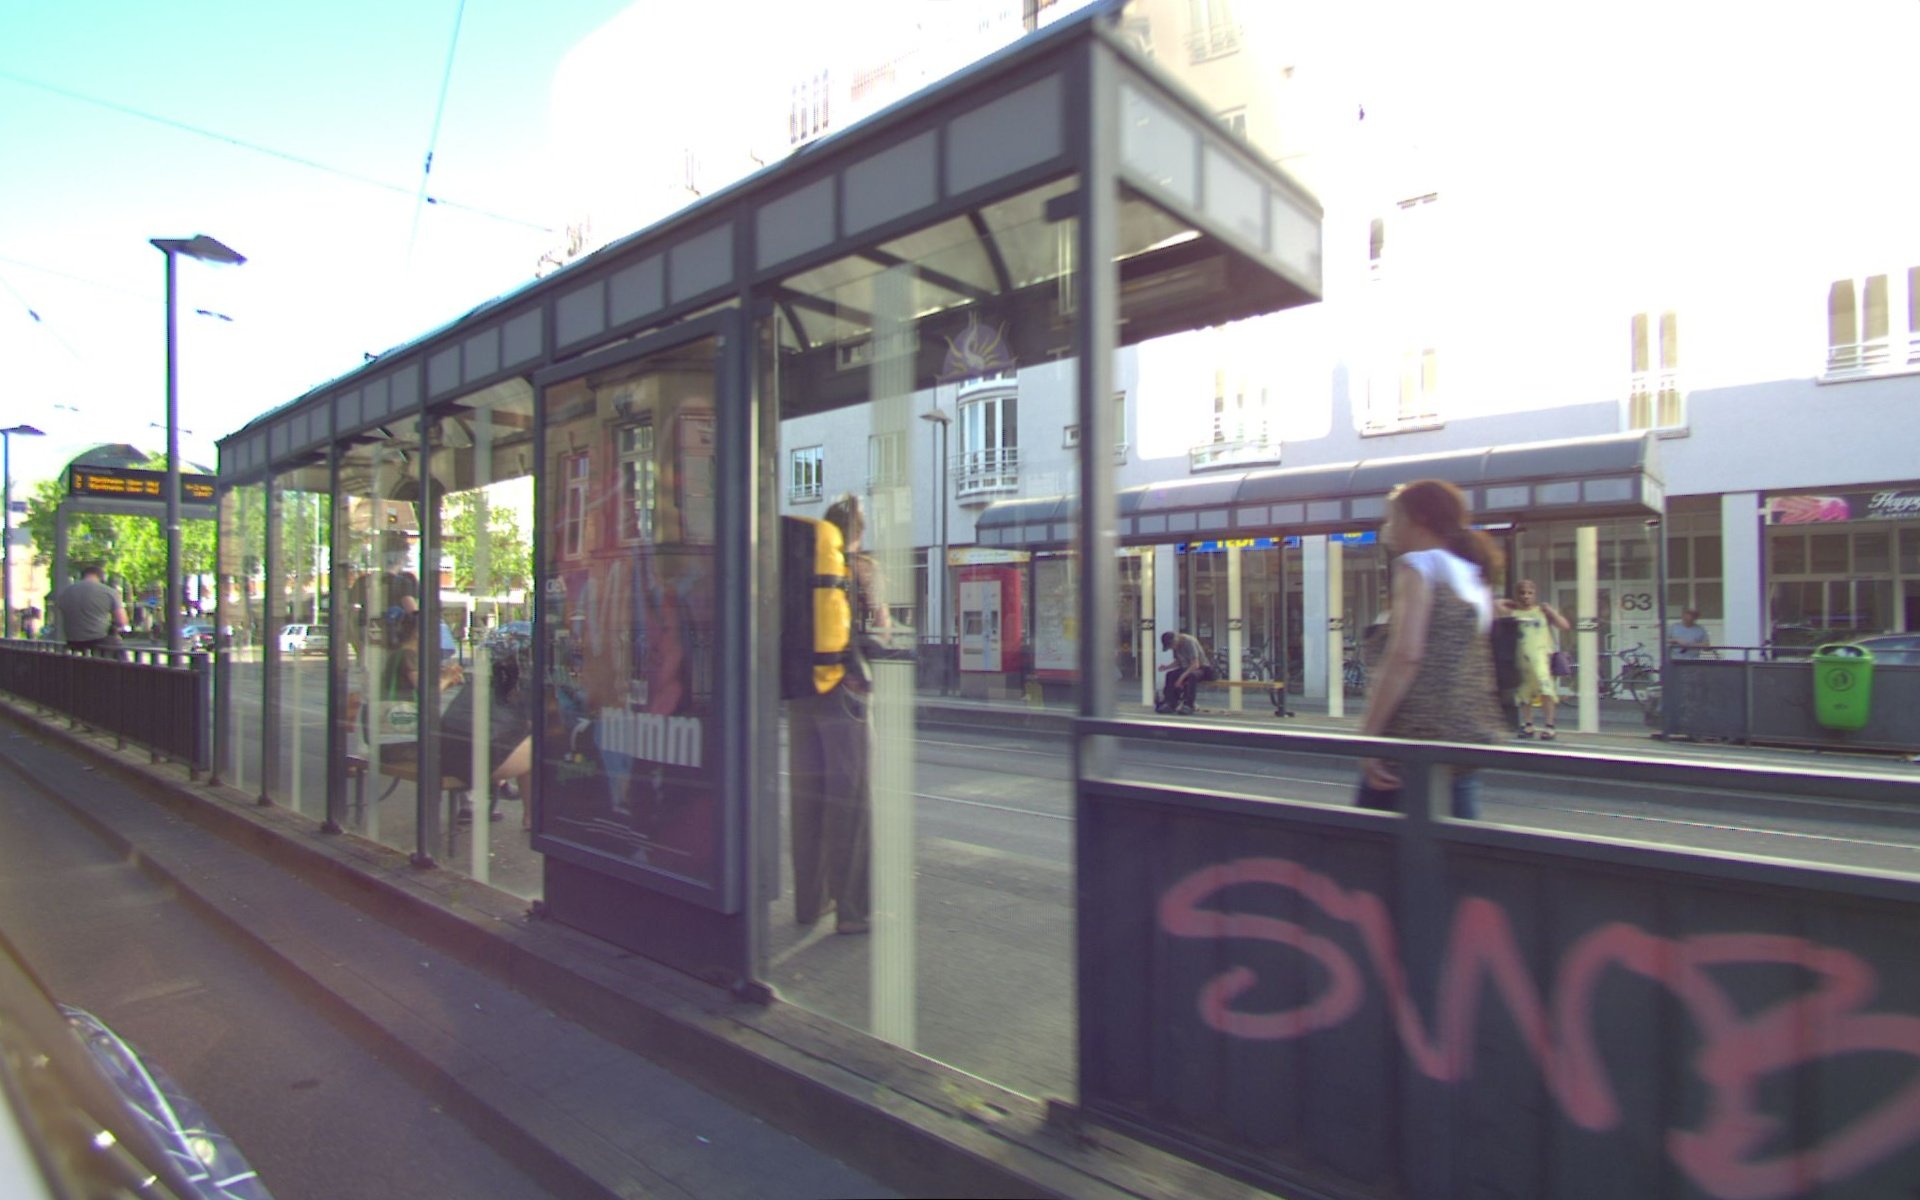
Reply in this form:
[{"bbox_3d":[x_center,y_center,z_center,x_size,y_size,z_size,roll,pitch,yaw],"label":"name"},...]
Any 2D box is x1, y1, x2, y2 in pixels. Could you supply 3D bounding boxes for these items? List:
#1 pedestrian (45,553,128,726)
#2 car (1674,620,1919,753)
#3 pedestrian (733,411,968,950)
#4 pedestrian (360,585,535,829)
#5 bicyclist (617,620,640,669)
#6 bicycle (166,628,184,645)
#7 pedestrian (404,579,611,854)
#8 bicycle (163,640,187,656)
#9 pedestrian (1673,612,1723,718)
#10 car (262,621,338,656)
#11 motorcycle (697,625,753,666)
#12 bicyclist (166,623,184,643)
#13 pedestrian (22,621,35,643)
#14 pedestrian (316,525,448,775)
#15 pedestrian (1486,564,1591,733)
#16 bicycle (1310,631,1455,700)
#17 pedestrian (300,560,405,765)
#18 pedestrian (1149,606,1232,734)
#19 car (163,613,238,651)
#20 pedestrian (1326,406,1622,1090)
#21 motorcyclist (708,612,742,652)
[{"bbox_3d":[-9.154,0.388,10.605,0.629,1.710,0.934,-1,0,-42],"label":"pedestrian"},{"bbox_3d":[11.082,0.972,11.837,4.280,1.460,1.733,-2,-2,42],"label":"car"},{"bbox_3d":[-0.373,0.268,3.671,0.712,1.764,0.563,-1,-2,12],"label":"pedestrian"},{"bbox_3d":[-2.934,0.575,5.805,0.657,1.282,0.703,-2,-3,43],"label":"pedestrian"},{"bbox_3d":[-11.824,1.578,36.111,0.711,1.708,1.032,0,-1,-21],"label":"bicyclist"},{"bbox_3d":[-54.600,2.544,70.351,2.233,1.195,0.492,-2,-2,39],"label":"bicycle"},{"bbox_3d":[-2.349,0.561,5.266,0.719,1.282,0.756,-2,-3,43],"label":"pedestrian"},{"bbox_3d":[-51.350,3.131,66.181,1.848,0.980,0.589,0,-1,31],"label":"bicycle"},{"bbox_3d":[11.775,1.024,16.151,0.596,1.634,0.834,-2,-2,36],"label":"pedestrian"},{"bbox_3d":[-30.259,1.734,46.333,4.401,1.526,1.711,-1,-2,40],"label":"car"},{"bbox_3d":[-6.535,1.249,28.105,1.844,1.082,0.553,0,0,42],"label":"motorcycle"},{"bbox_3d":[-51.333,2.166,66.190,0.988,1.295,0.584,0,-1,31],"label":"bicyclist"},{"bbox_3d":[-64.756,2.210,70.323,0.858,1.529,0.494,-2,-4,41],"label":"pedestrian"},{"bbox_3d":[-4.323,0.364,7.611,0.707,1.791,0.566,0,-2,-13],"label":"pedestrian"},{"bbox_3d":[5.699,0.466,9.964,0.742,1.571,0.724,-3,-2,40],"label":"pedestrian"},{"bbox_3d":[8.088,1.221,19.457,2.430,1.177,0.899,0,0,42],"label":"bicycle"},{"bbox_3d":[-4.820,0.487,8.058,0.577,1.574,0.471,0,-2,-13],"label":"pedestrian"},{"bbox_3d":[2.910,0.860,12.757,0.742,1.539,0.724,-3,-2,40],"label":"pedestrian"},{"bbox_3d":[-40.324,1.685,53.715,4.605,1.925,2.204,-1,-2,40],"label":"car"},{"bbox_3d":[1.403,0.344,2.754,0.568,1.570,0.614,-2,-2,41],"label":"pedestrian"},{"bbox_3d":[-6.522,0.885,28.060,0.827,1.082,0.553,0,0,42],"label":"motorcyclist"}]
